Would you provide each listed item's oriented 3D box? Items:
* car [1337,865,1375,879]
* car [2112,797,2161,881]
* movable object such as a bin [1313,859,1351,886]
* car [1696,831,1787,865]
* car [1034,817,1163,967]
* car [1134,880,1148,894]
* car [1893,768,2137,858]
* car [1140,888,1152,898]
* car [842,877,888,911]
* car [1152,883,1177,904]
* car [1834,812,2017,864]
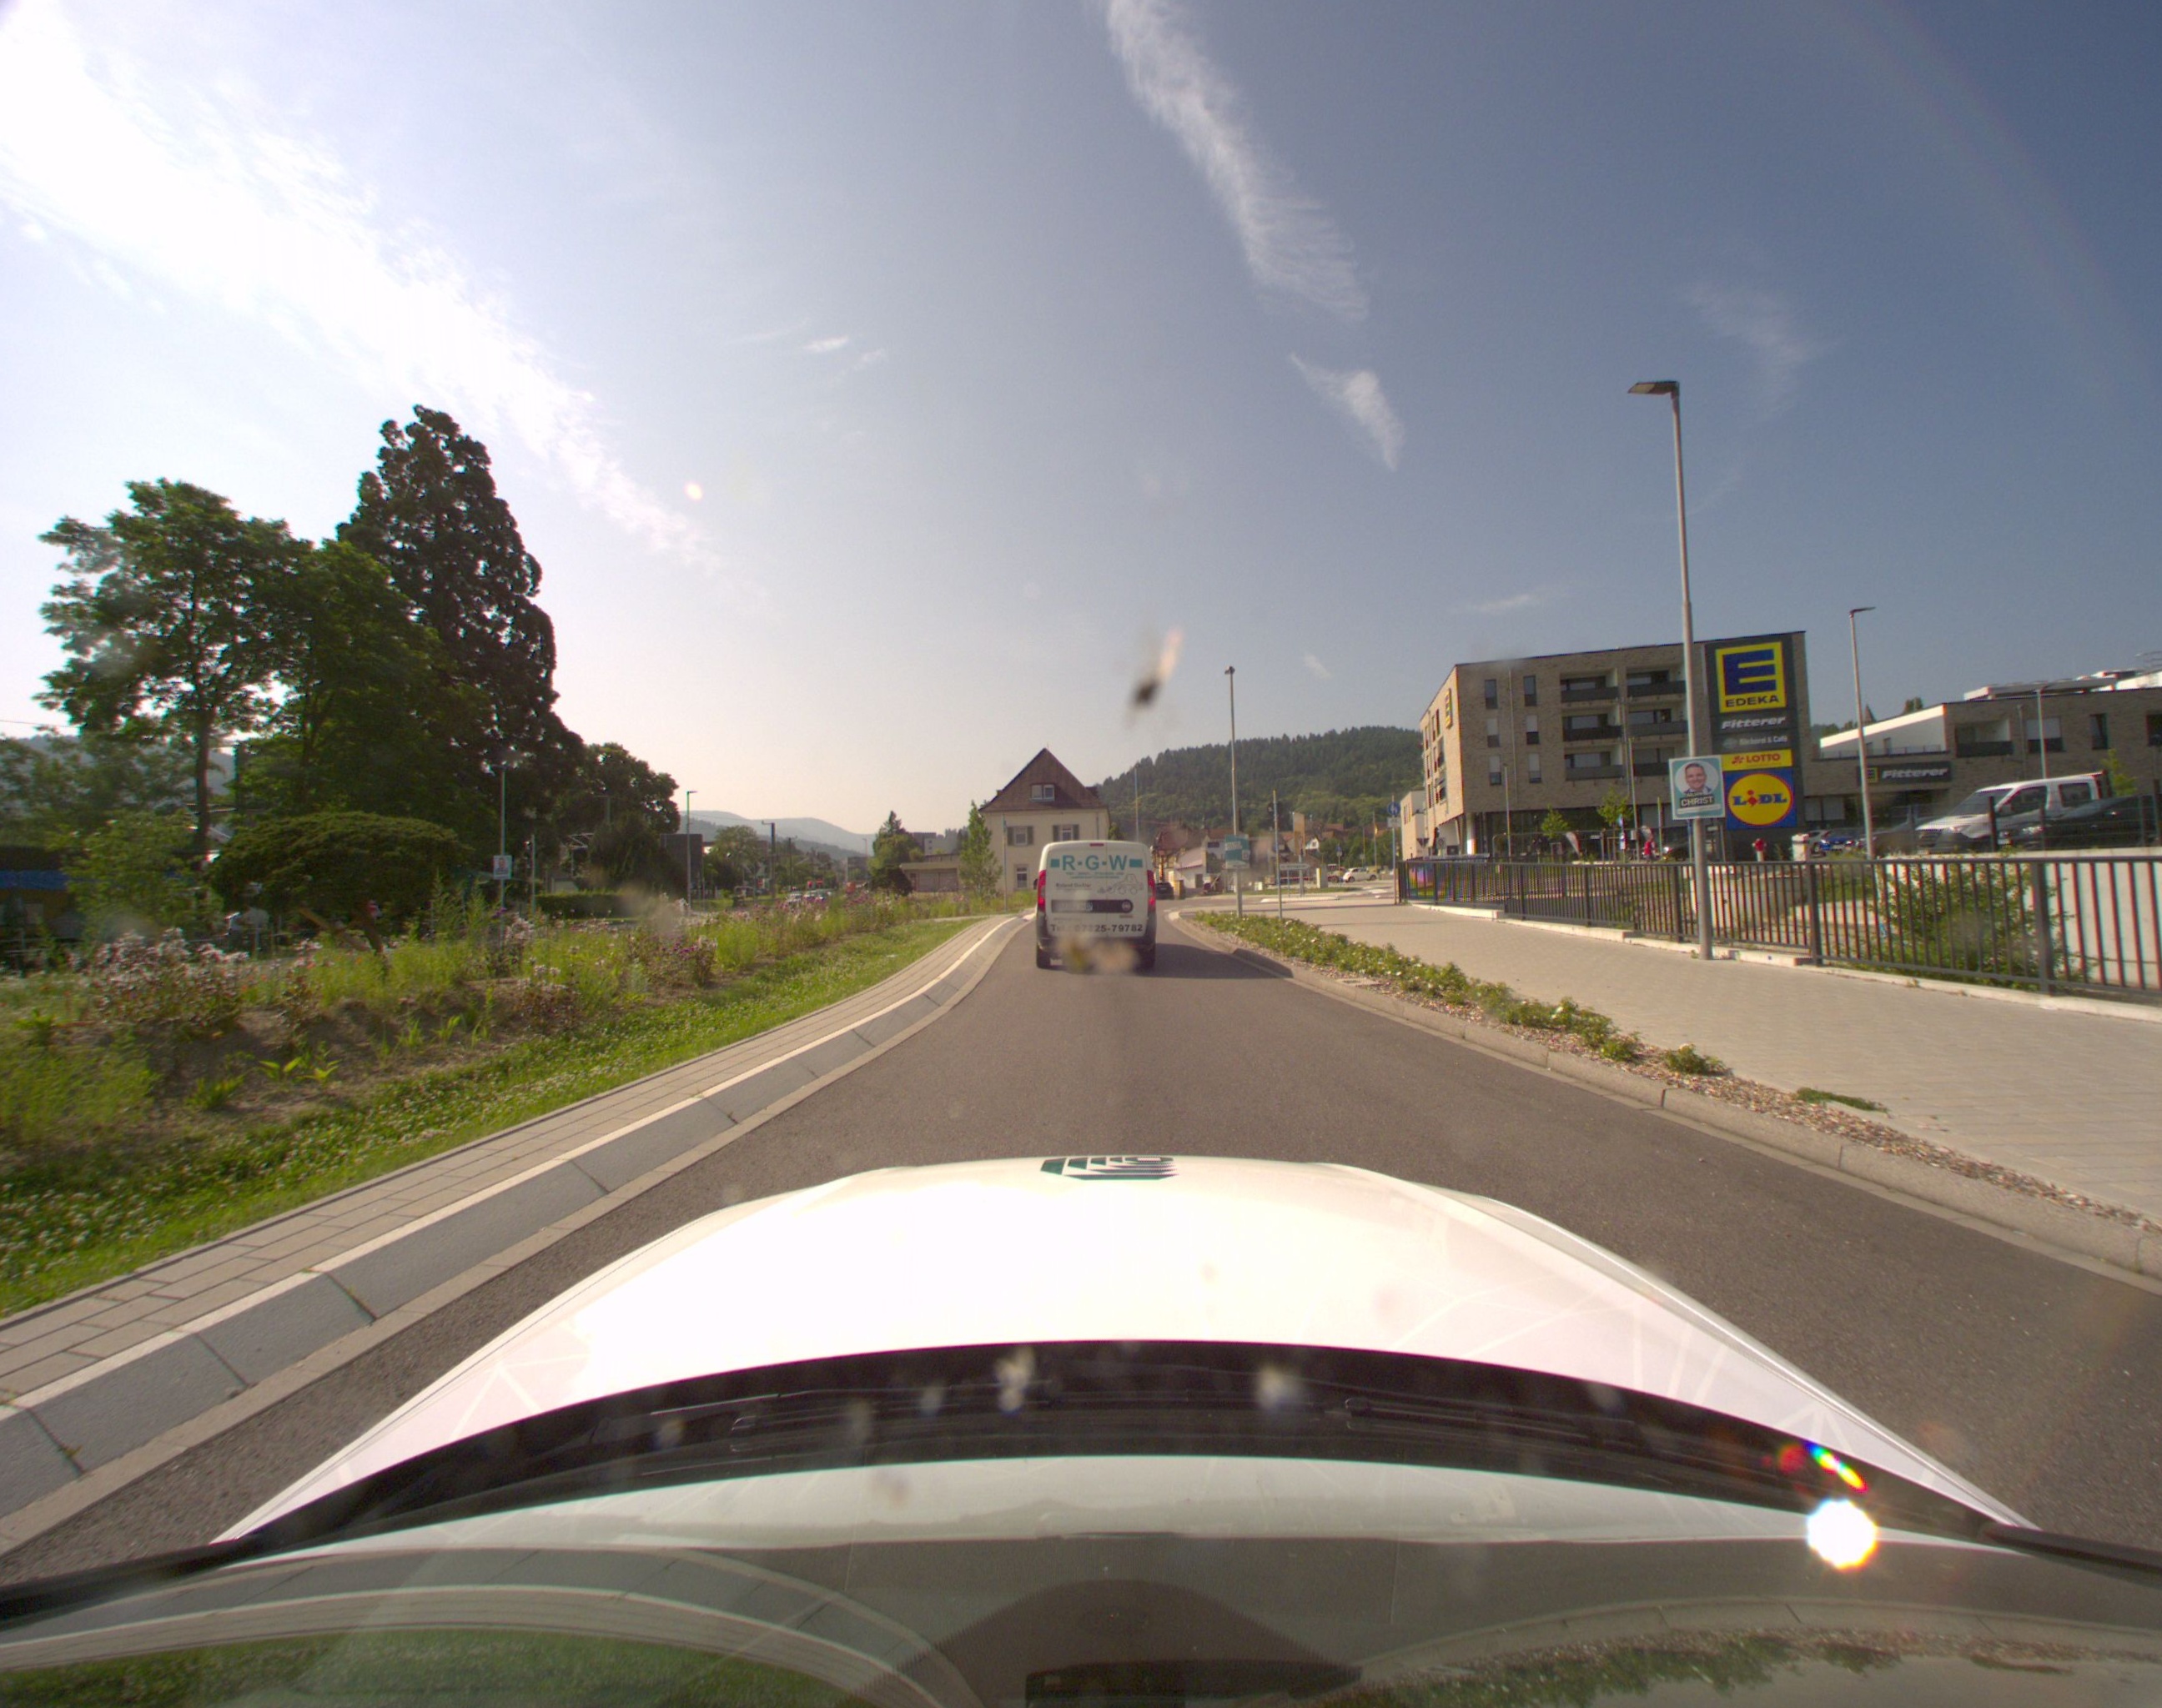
[{"bbox_3d":[29.055,1.931,86.062,3.458,1.304,1.470,-2,-2,4],"label":"car"},{"bbox_3d":[20.330,-0.327,13.740,3.541,1.430,1.712,-2,-2,3],"label":"car"},{"bbox_3d":[18.369,1.341,59.639,2.427,1.844,1.433,-3,-3,11],"label":"movable object such as a bin"},{"bbox_3d":[35.987,-0.290,44.465,3.461,1.594,1.492,-3,-3,15],"label":"car"},{"bbox_3d":[0.202,0.552,13.617,1.801,2.078,4.601,0,-1,-1],"label":"car"},{"bbox_3d":[9.364,5.088,126.469,1.984,2.014,4.004,-3,-3,4],"label":"car"},{"bbox_3d":[26.273,-1.074,23.136,3.951,2.136,2.011,-4,-3,24],"label":"car"},{"bbox_3d":[7.276,4.381,91.684,1.300,1.003,3.093,-3,-3,4],"label":"car"},{"bbox_3d":[-14.184,2.580,53.683,1.803,2.014,3.999,-3,-1,0],"label":"car"},{"bbox_3d":[7.265,3.417,70.630,1.870,1.684,4.010,-3,-3,9],"label":"car"},{"bbox_3d":[28.998,-0.496,28.137,3.950,1.448,1.687,-4,-3,25],"label":"car"}]
